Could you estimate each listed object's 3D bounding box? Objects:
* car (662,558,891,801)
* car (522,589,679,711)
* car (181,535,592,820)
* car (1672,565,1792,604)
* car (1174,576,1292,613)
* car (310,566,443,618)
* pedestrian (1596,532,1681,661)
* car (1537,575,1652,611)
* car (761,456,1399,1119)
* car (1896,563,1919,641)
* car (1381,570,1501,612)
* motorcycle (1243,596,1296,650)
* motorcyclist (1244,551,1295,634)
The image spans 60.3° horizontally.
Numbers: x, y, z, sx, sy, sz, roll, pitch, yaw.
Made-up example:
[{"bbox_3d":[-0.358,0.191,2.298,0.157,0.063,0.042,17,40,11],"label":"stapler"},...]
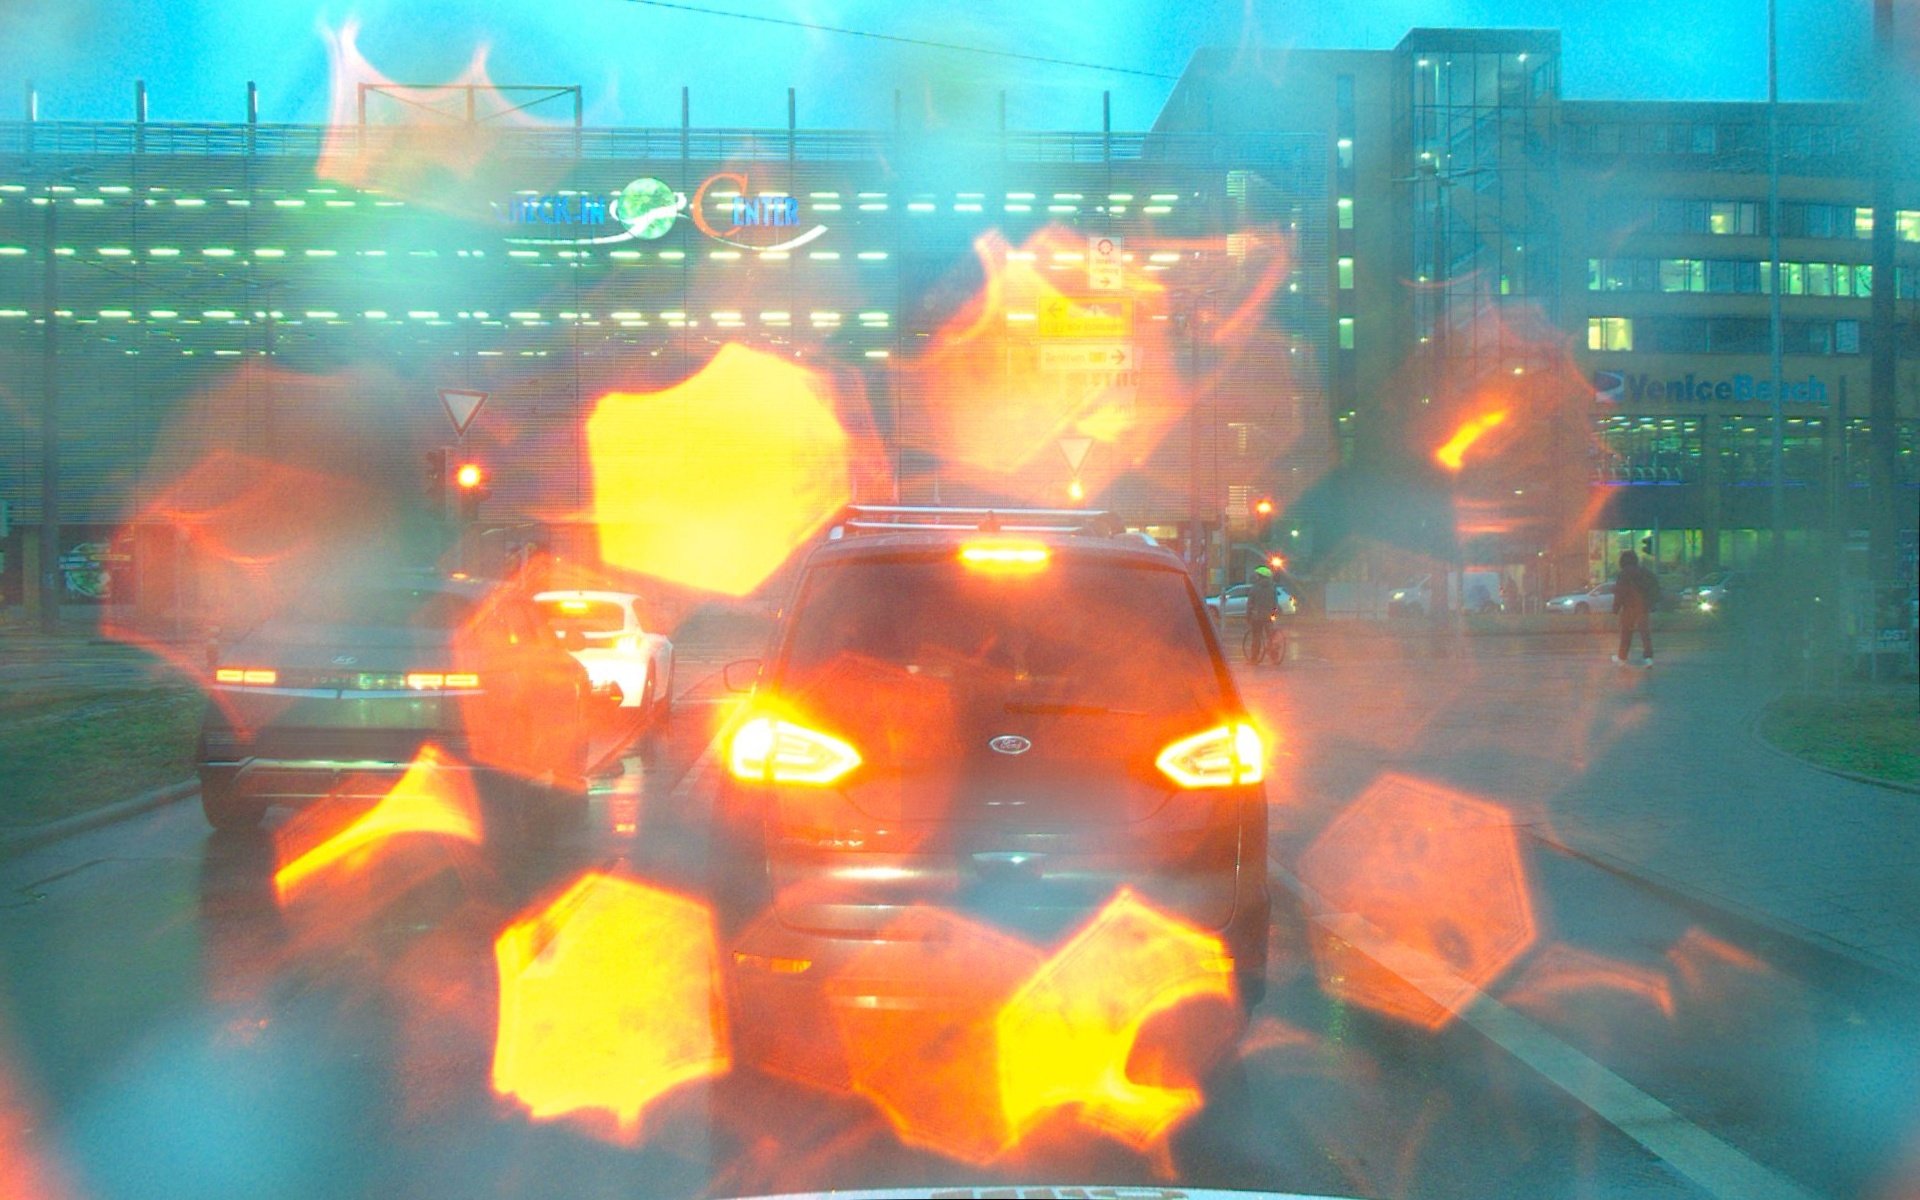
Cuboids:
[{"bbox_3d":[-1.467,0.570,13.657,1.604,1.726,3.667,1,0,-5],"label":"car"},{"bbox_3d":[-4.128,0.517,19.448,1.512,1.273,4.060,0,0,-8],"label":"car"},{"bbox_3d":[-3.699,0.427,11.414,1.718,1.601,3.996,0,0,-5],"label":"car"},{"bbox_3d":[32.664,-0.658,70.025,4.348,1.561,1.797,-1,0,-8],"label":"car"},{"bbox_3d":[10.968,-0.228,66.605,4.336,1.414,1.797,-1,0,-8],"label":"car"},{"bbox_3d":[-23.443,-0.341,66.610,4.747,2.035,1.797,-1,0,-8],"label":"car"},{"bbox_3d":[10.641,-0.059,25.956,1.146,1.957,0.898,2,0,22],"label":"pedestrian"},{"bbox_3d":[26.351,-0.294,68.719,4.136,1.414,1.797,-1,0,-8],"label":"car"},{"bbox_3d":[0.230,0.505,6.651,1.700,1.768,4.244,2,0,-3],"label":"car"},{"bbox_3d":[25.526,0.025,40.336,4.583,1.883,1.827,-1,0,-10],"label":"car"},{"bbox_3d":[19.533,-0.369,67.244,4.336,1.623,1.797,-1,0,-8],"label":"car"},{"bbox_3d":[5.931,0.433,31.736,0.835,0.989,1.582,0,0,5],"label":"motorcycle"},{"bbox_3d":[5.933,-0.143,31.750,0.850,1.561,1.109,0,0,5],"label":"motorcyclist"}]
